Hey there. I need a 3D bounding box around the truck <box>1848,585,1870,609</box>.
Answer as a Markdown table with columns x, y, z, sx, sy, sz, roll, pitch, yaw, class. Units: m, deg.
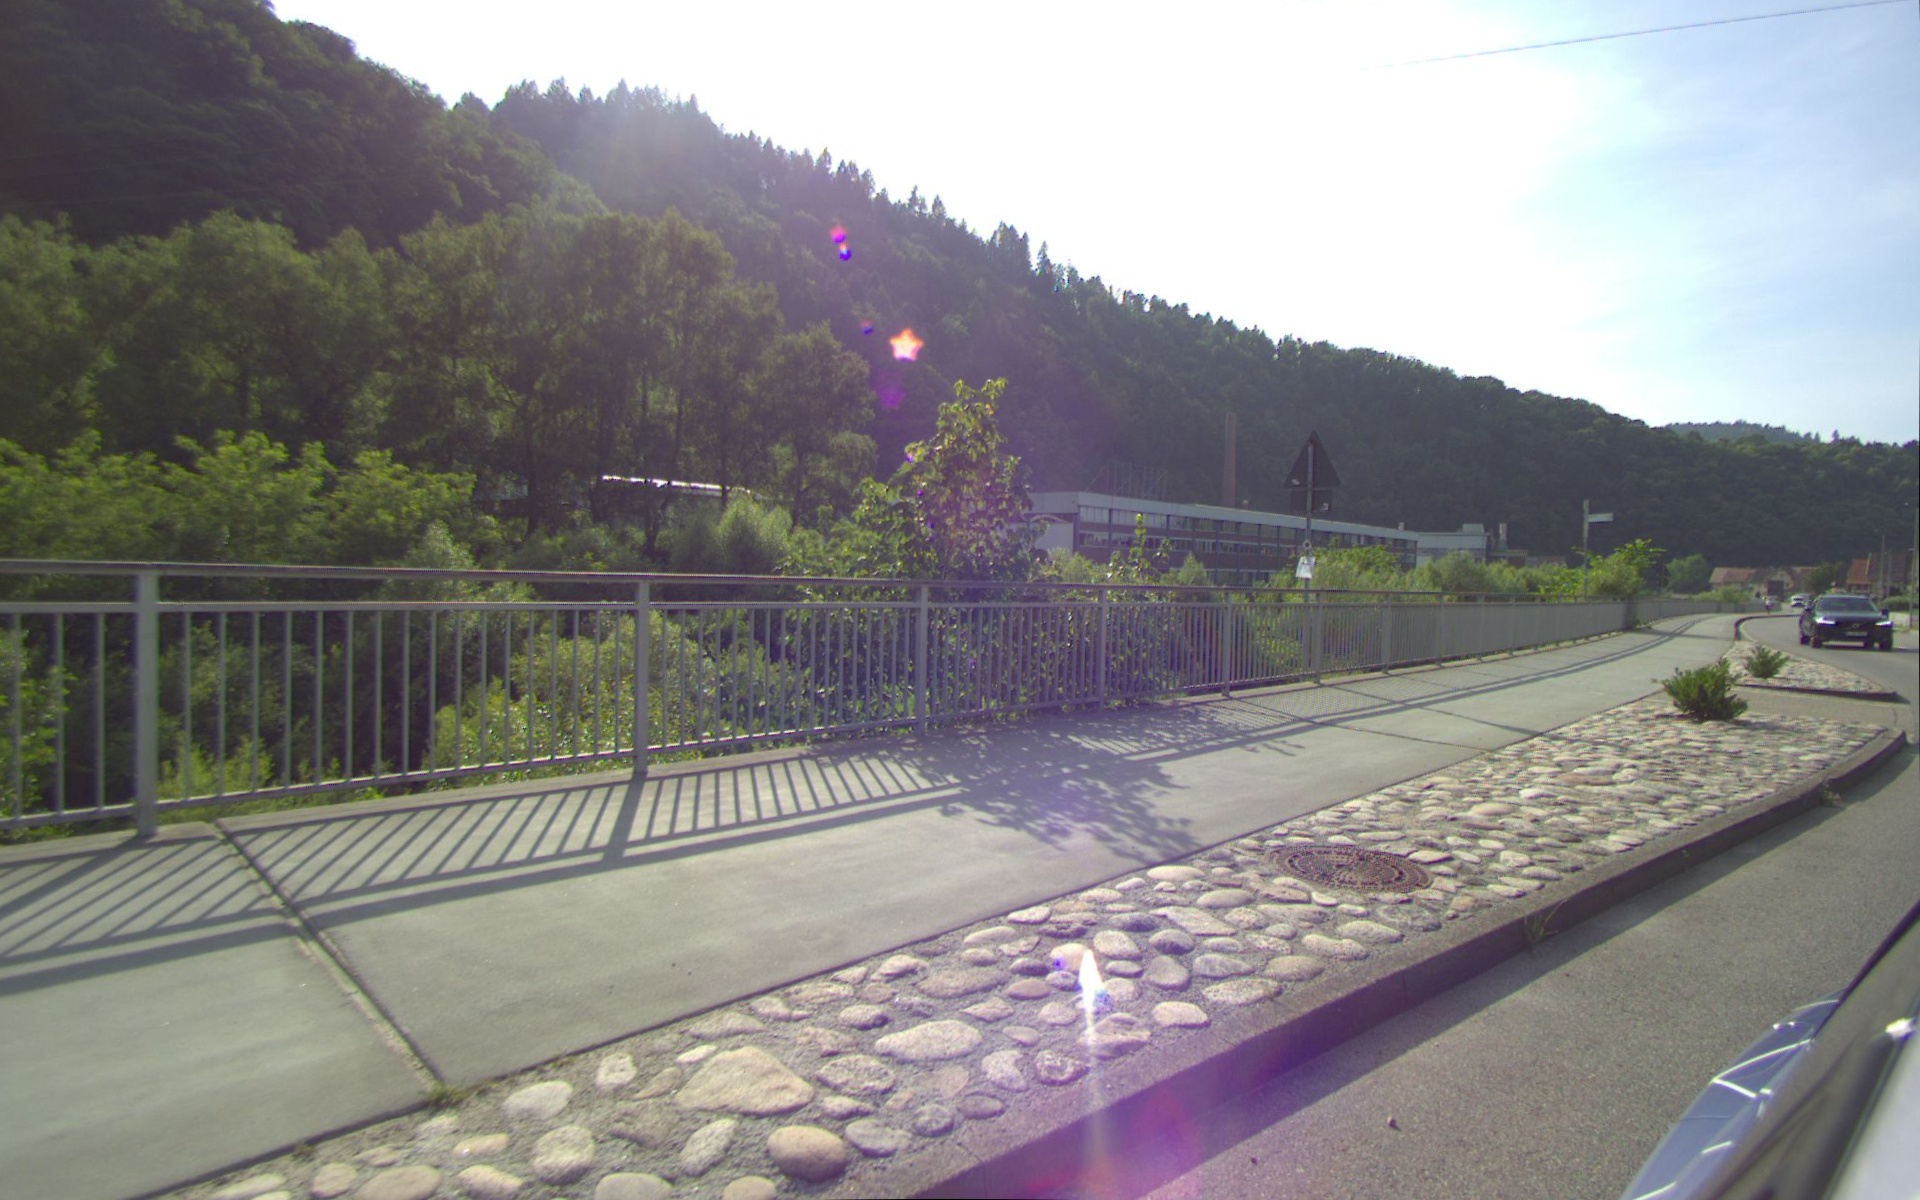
| x | y | z | sx | sy | sz | roll | pitch | yaw | class |
| --- | --- | --- | --- | --- | --- | --- | --- | --- | --- |
| 159.501 | -0.554 | 179.548 | 2.576 | 3.979 | 11.139 | 4 | 3 | 41 | truck |
